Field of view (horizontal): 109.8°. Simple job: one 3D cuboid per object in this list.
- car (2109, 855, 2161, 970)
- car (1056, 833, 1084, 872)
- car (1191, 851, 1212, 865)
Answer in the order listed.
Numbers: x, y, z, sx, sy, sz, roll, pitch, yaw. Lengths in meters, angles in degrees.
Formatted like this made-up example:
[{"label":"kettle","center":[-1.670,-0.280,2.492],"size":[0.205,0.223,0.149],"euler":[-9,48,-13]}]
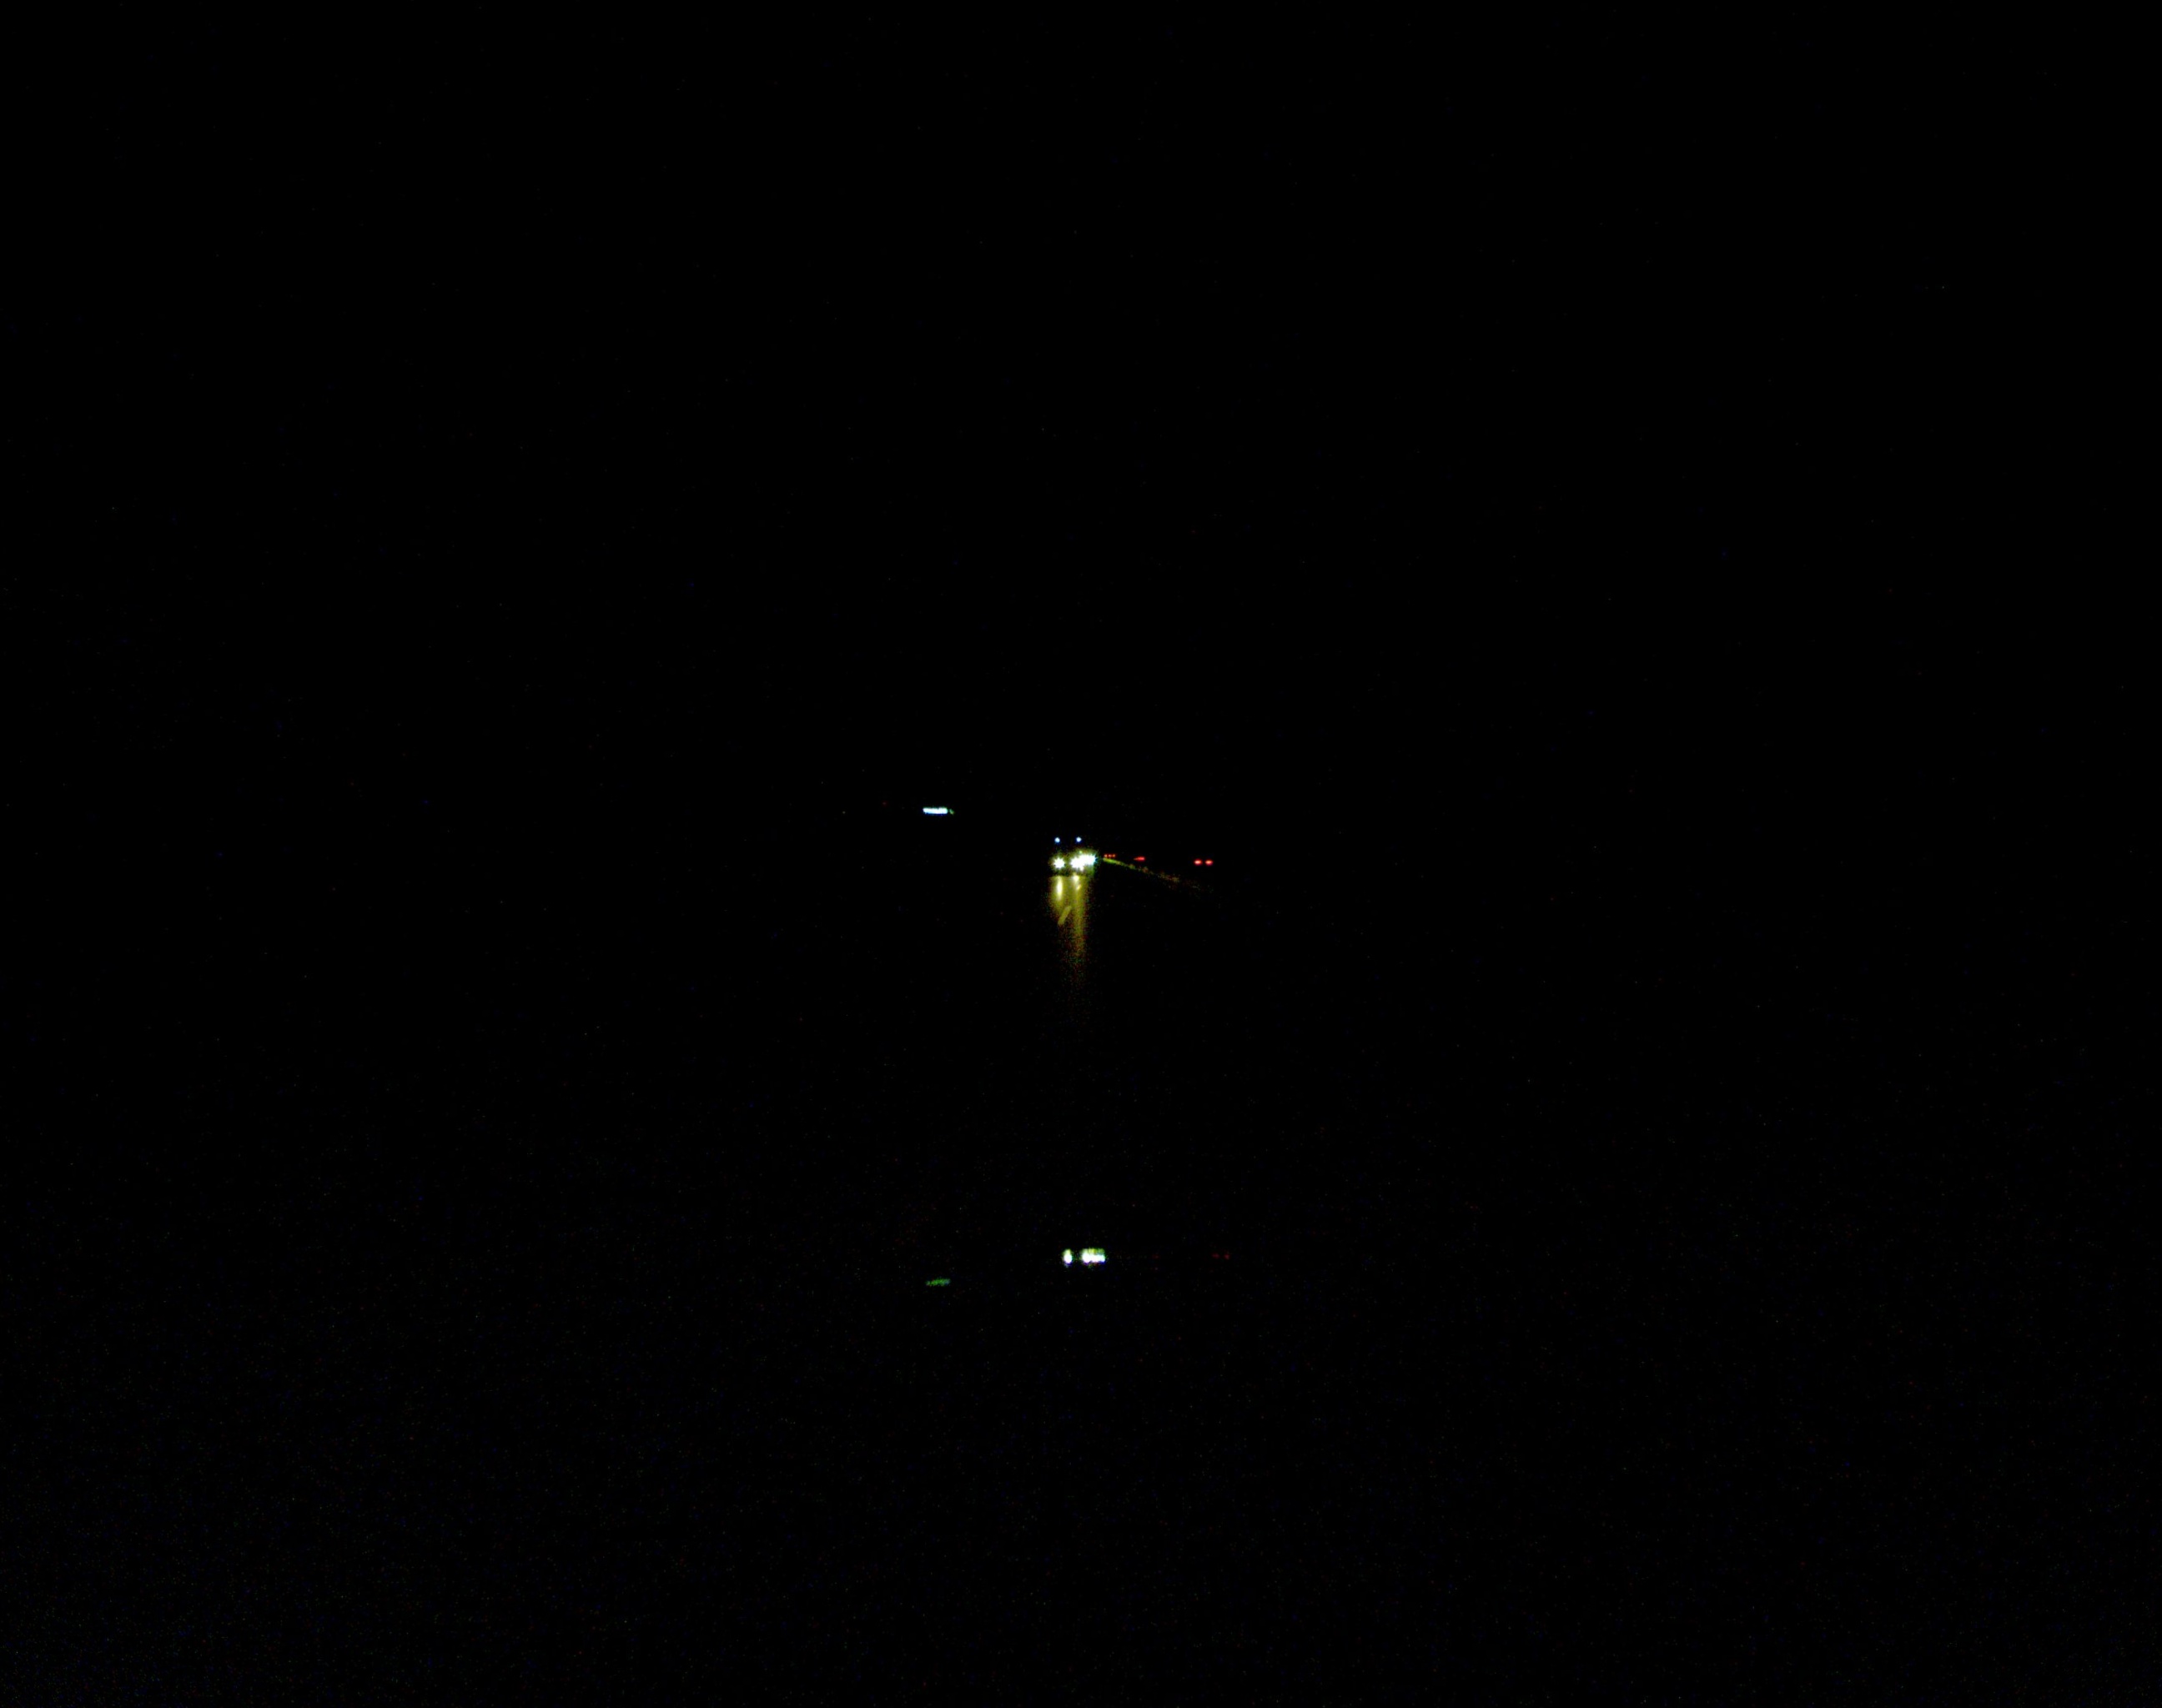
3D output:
[{"label":"car","center":[17.075,0.911,9.478],"size":[2.050,1.710,4.775],"euler":[1,0,1]},{"label":"car","center":[-0.933,-0.154,68.372],"size":[2.255,3.205,6.878],"euler":[-2,1,1]},{"label":"car","center":[14.819,0.502,93.738],"size":[1.908,1.633,5.298],"euler":[0,0,2]}]
